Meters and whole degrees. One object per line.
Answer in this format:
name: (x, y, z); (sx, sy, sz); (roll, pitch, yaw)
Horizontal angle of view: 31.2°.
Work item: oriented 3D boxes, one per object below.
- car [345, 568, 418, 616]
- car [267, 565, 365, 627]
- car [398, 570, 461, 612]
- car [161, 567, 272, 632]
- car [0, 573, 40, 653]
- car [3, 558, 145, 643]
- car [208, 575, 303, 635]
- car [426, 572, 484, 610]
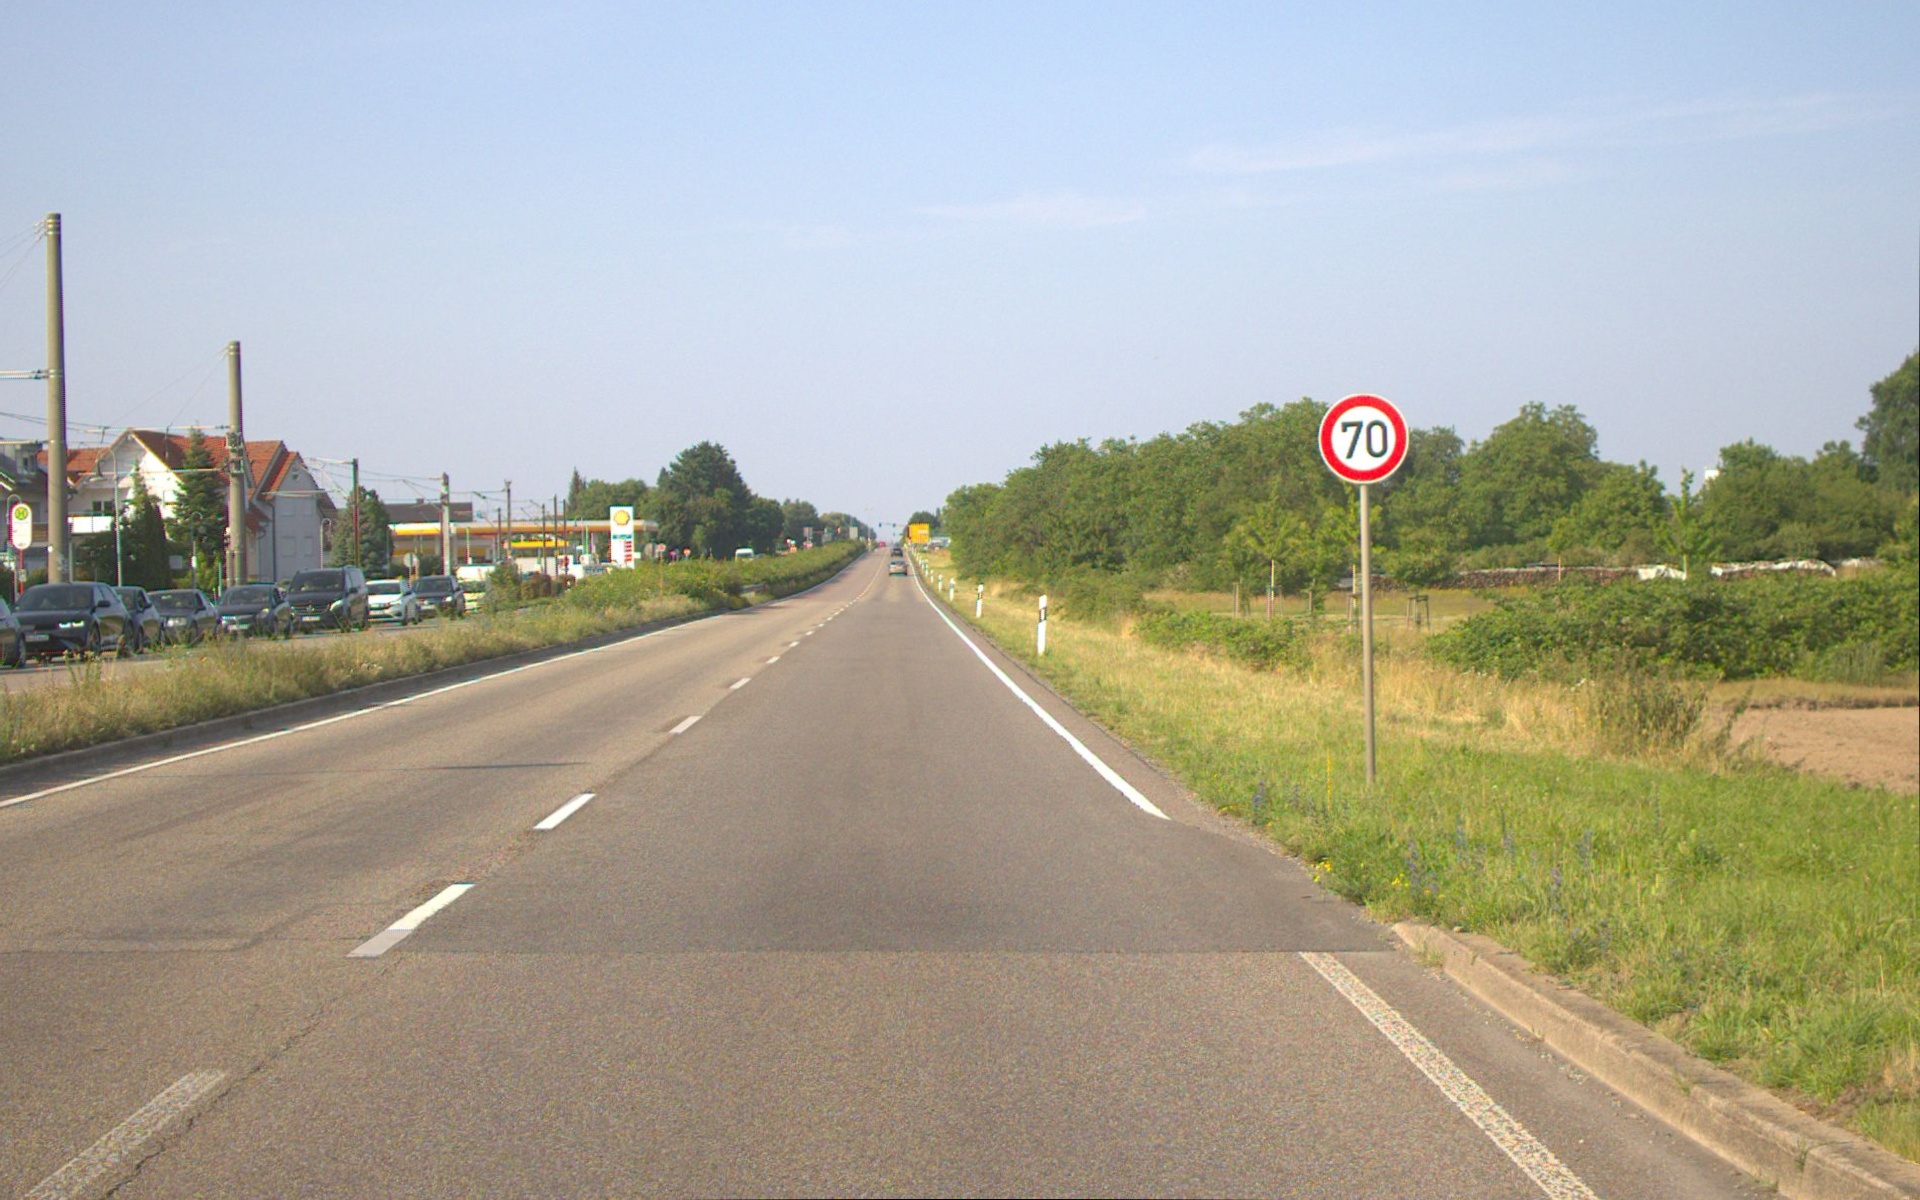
car: (-18.688, -0.273, 111.218); (1.660, 1.426, 4.449); (-3, 1, -1)
car: (-18.715, -0.135, 100.077); (1.915, 1.677, 5.254); (-3, 1, -1)
car: (-19.226, -0.338, 124.705); (1.660, 1.426, 4.326); (-3, 1, -1)
car: (-17.678, -0.037, 81.898); (1.660, 1.426, 4.718); (-3, 1, -1)
car: (-17.912, 0.261, 61.910); (1.660, 1.426, 3.805); (-3, 1, -1)
car: (-17.553, -0.017, 68.288); (1.660, 1.557, 4.546); (-3, 1, -1)
car: (-18.318, 0.113, 89.525); (1.660, 1.426, 4.057); (-3, 1, -1)
car: (-20.047, -0.367, 136.584); (1.660, 1.426, 4.326); (-3, 1, -1)
